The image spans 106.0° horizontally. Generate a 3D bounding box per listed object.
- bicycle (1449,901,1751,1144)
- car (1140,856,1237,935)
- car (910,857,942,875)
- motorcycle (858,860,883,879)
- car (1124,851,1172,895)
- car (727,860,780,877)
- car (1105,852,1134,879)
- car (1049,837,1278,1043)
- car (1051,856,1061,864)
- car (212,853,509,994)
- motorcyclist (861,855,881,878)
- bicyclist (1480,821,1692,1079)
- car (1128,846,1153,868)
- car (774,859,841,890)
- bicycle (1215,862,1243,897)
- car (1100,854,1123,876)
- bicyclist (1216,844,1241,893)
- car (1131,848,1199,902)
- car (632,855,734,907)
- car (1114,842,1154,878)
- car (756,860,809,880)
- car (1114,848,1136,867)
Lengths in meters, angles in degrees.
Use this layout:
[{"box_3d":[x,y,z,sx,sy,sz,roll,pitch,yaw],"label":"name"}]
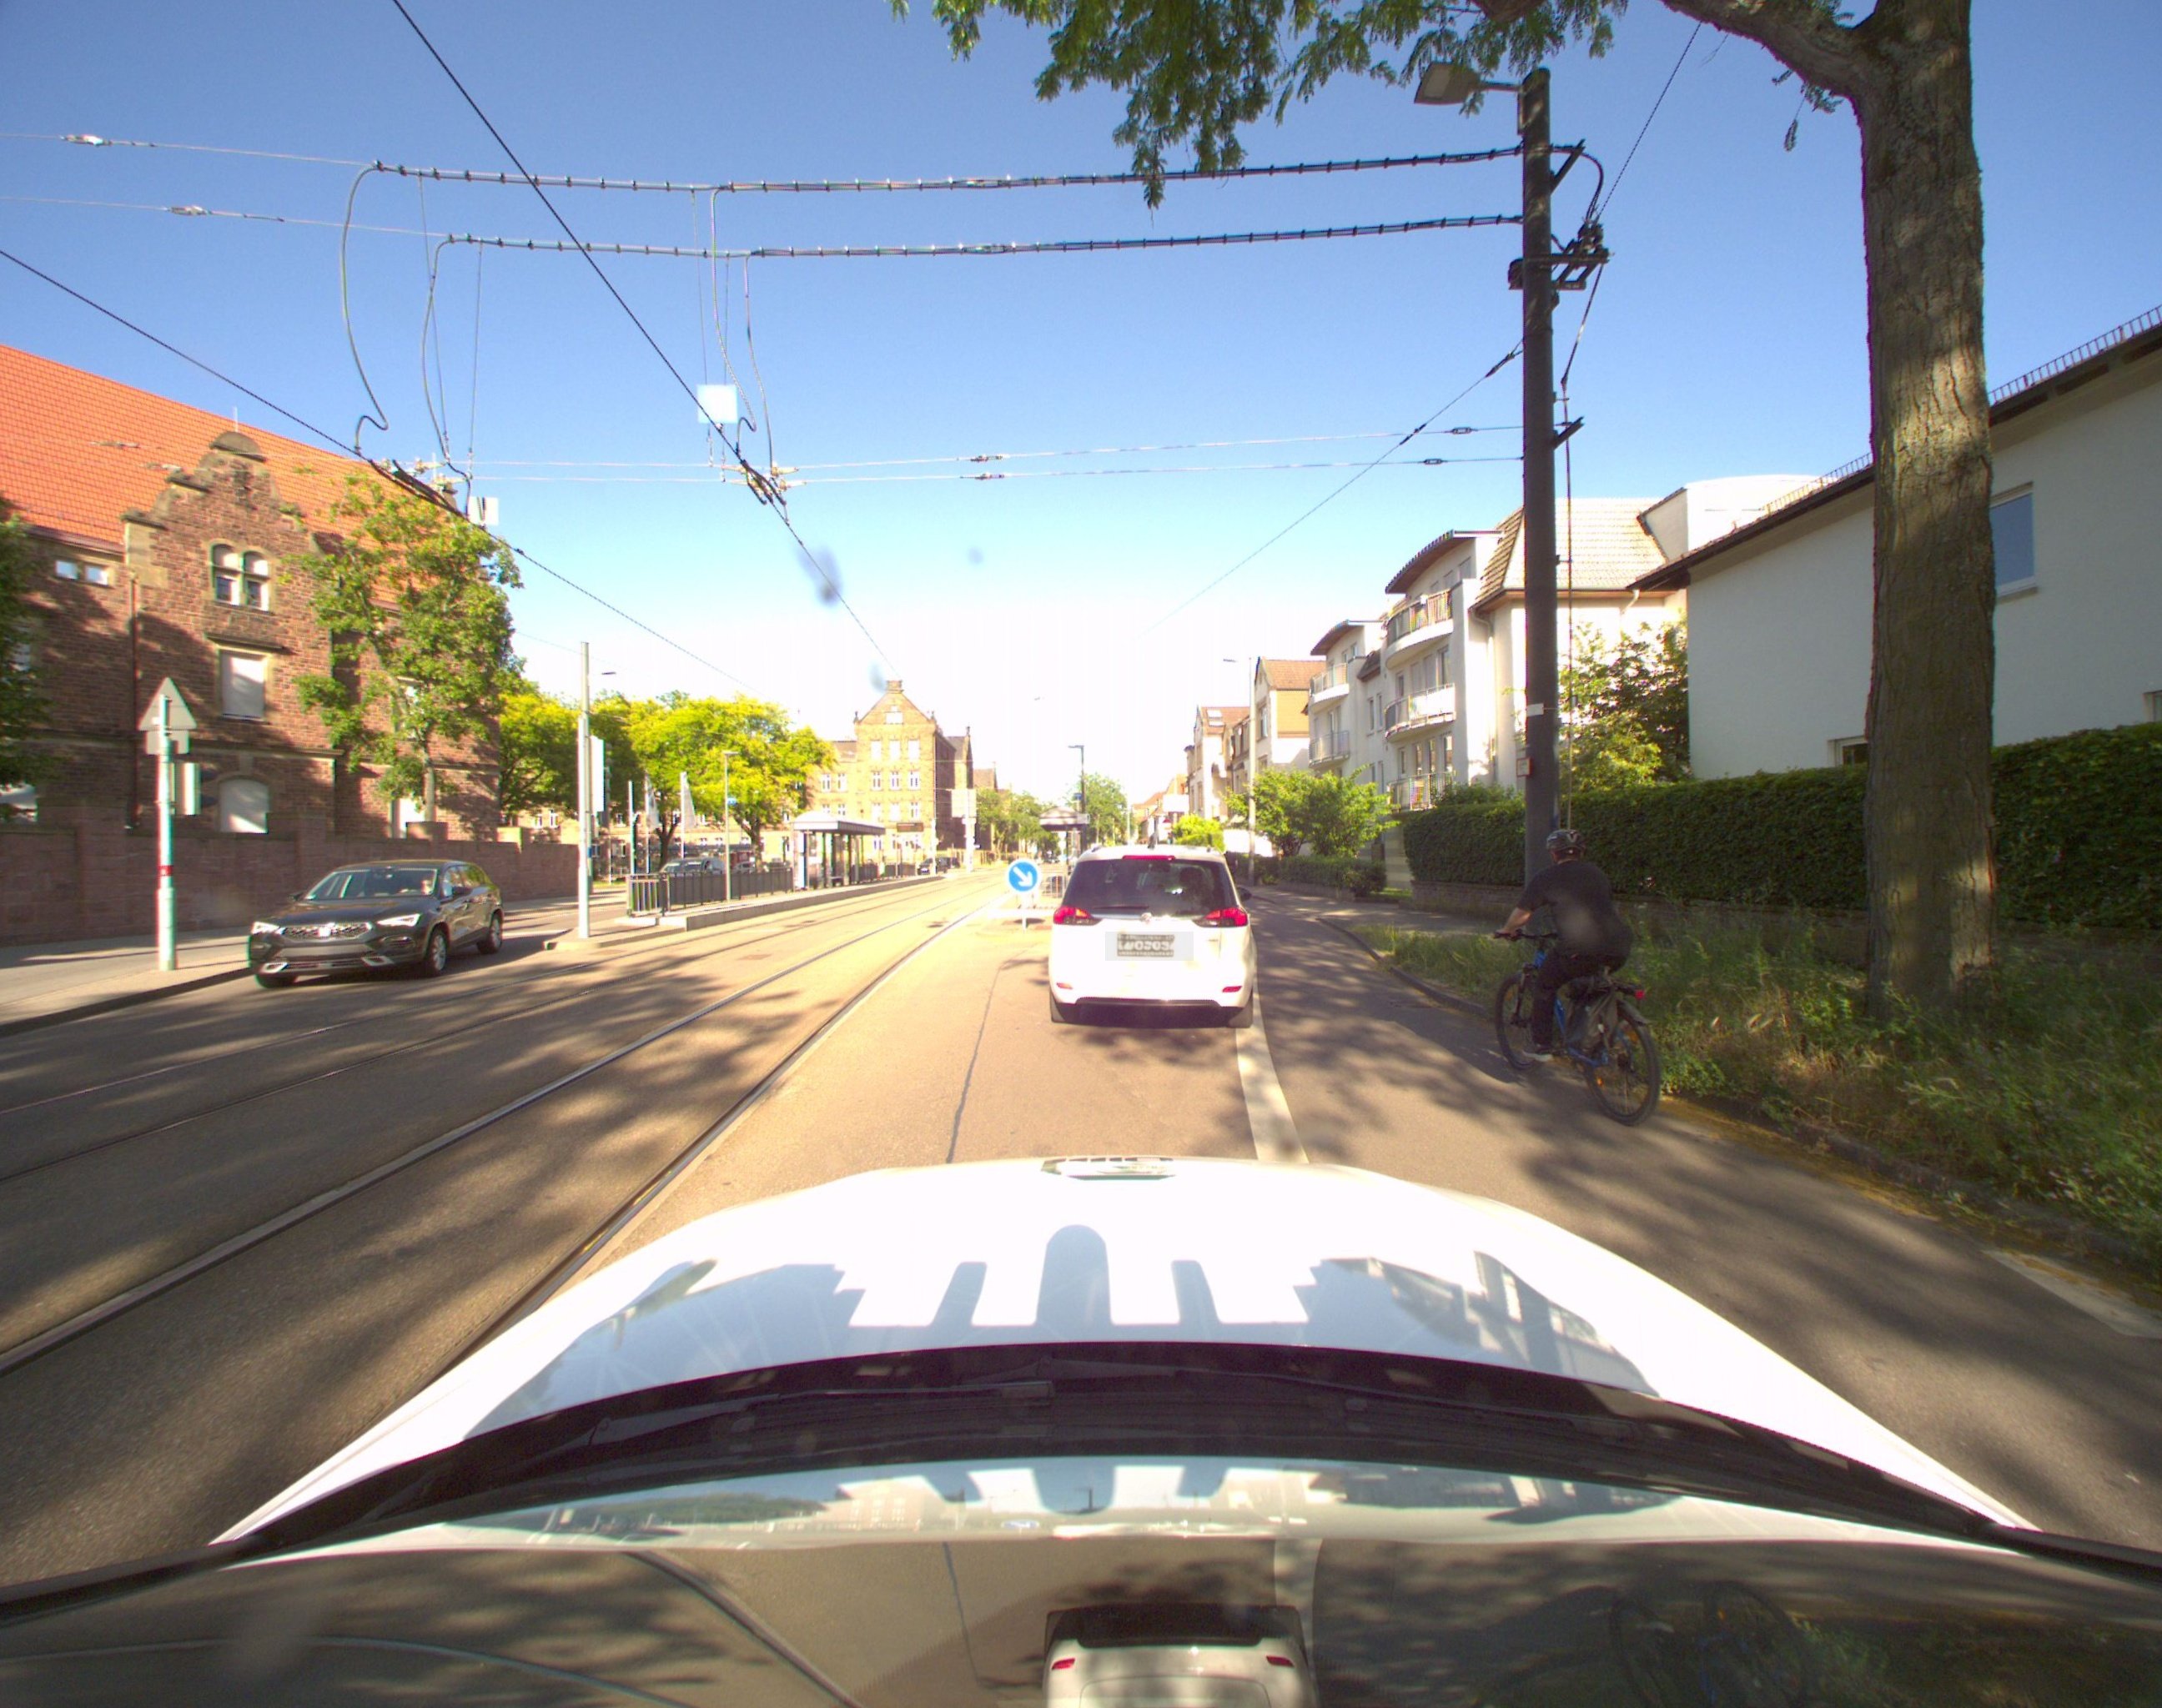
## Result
[{"box_3d":[3.213,0.944,5.356,0.825,1.154,2.098,1,0,6],"label":"bicycle"},{"box_3d":[2.166,0.783,17.287,1.581,1.420,3.901,-1,0,1],"label":"car"},{"box_3d":[-13.640,1.042,71.903,1.986,1.546,4.001,0,-1,2],"label":"car"},{"box_3d":[-14.025,1.000,54.387,1.128,1.243,2.569,0,-1,-4],"label":"motorcycle"},{"box_3d":[2.628,0.741,32.530,1.768,1.632,3.883,0,-1,3],"label":"car"},{"box_3d":[-30.020,1.283,74.742,4.050,1.522,1.878,0,-1,1],"label":"car"},{"box_3d":[2.466,0.711,52.082,1.769,1.632,3.882,0,-1,2],"label":"car"},{"box_3d":[0.669,0.703,8.516,1.829,1.642,3.918,0,-1,0],"label":"car"},{"box_3d":[-5.293,1.253,174.039,1.901,1.677,4.356,-1,0,-1],"label":"car"},{"box_3d":[-10.118,0.886,11.895,1.928,1.617,4.087,-2,-1,-21],"label":"car"},{"box_3d":[-14.030,0.816,54.496,1.122,1.525,1.053,0,-1,-5],"label":"motorcyclist"},{"box_3d":[3.183,0.564,5.240,0.817,1.501,0.936,0,-1,6],"label":"bicyclist"},{"box_3d":[4.569,0.232,63.077,1.769,1.632,3.881,0,-1,1],"label":"car"},{"box_3d":[-13.841,0.983,41.521,1.878,1.415,4.622,-1,0,-1],"label":"car"},{"box_3d":[5.054,0.847,27.886,0.683,1.157,1.620,0,-1,2],"label":"bicycle"},{"box_3d":[2.413,0.845,64.534,1.769,1.692,3.881,0,-1,1],"label":"car"},{"box_3d":[5.052,0.497,27.883,0.683,1.634,1.016,0,-1,2],"label":"bicyclist"},{"box_3d":[2.639,0.643,26.385,1.770,1.632,3.879,0,-1,-1],"label":"car"},{"box_3d":[-13.875,0.897,28.682,1.793,1.637,4.112,-2,0,-5],"label":"car"},{"box_3d":[2.483,0.281,39.201,1.769,1.632,3.882,0,-1,1],"label":"car"},{"box_3d":[-25.485,1.374,69.507,3.844,1.660,1.751,0,-1,1],"label":"car"},{"box_3d":[3.777,0.302,70.894,1.769,1.632,3.881,0,-1,1],"label":"car"}]
